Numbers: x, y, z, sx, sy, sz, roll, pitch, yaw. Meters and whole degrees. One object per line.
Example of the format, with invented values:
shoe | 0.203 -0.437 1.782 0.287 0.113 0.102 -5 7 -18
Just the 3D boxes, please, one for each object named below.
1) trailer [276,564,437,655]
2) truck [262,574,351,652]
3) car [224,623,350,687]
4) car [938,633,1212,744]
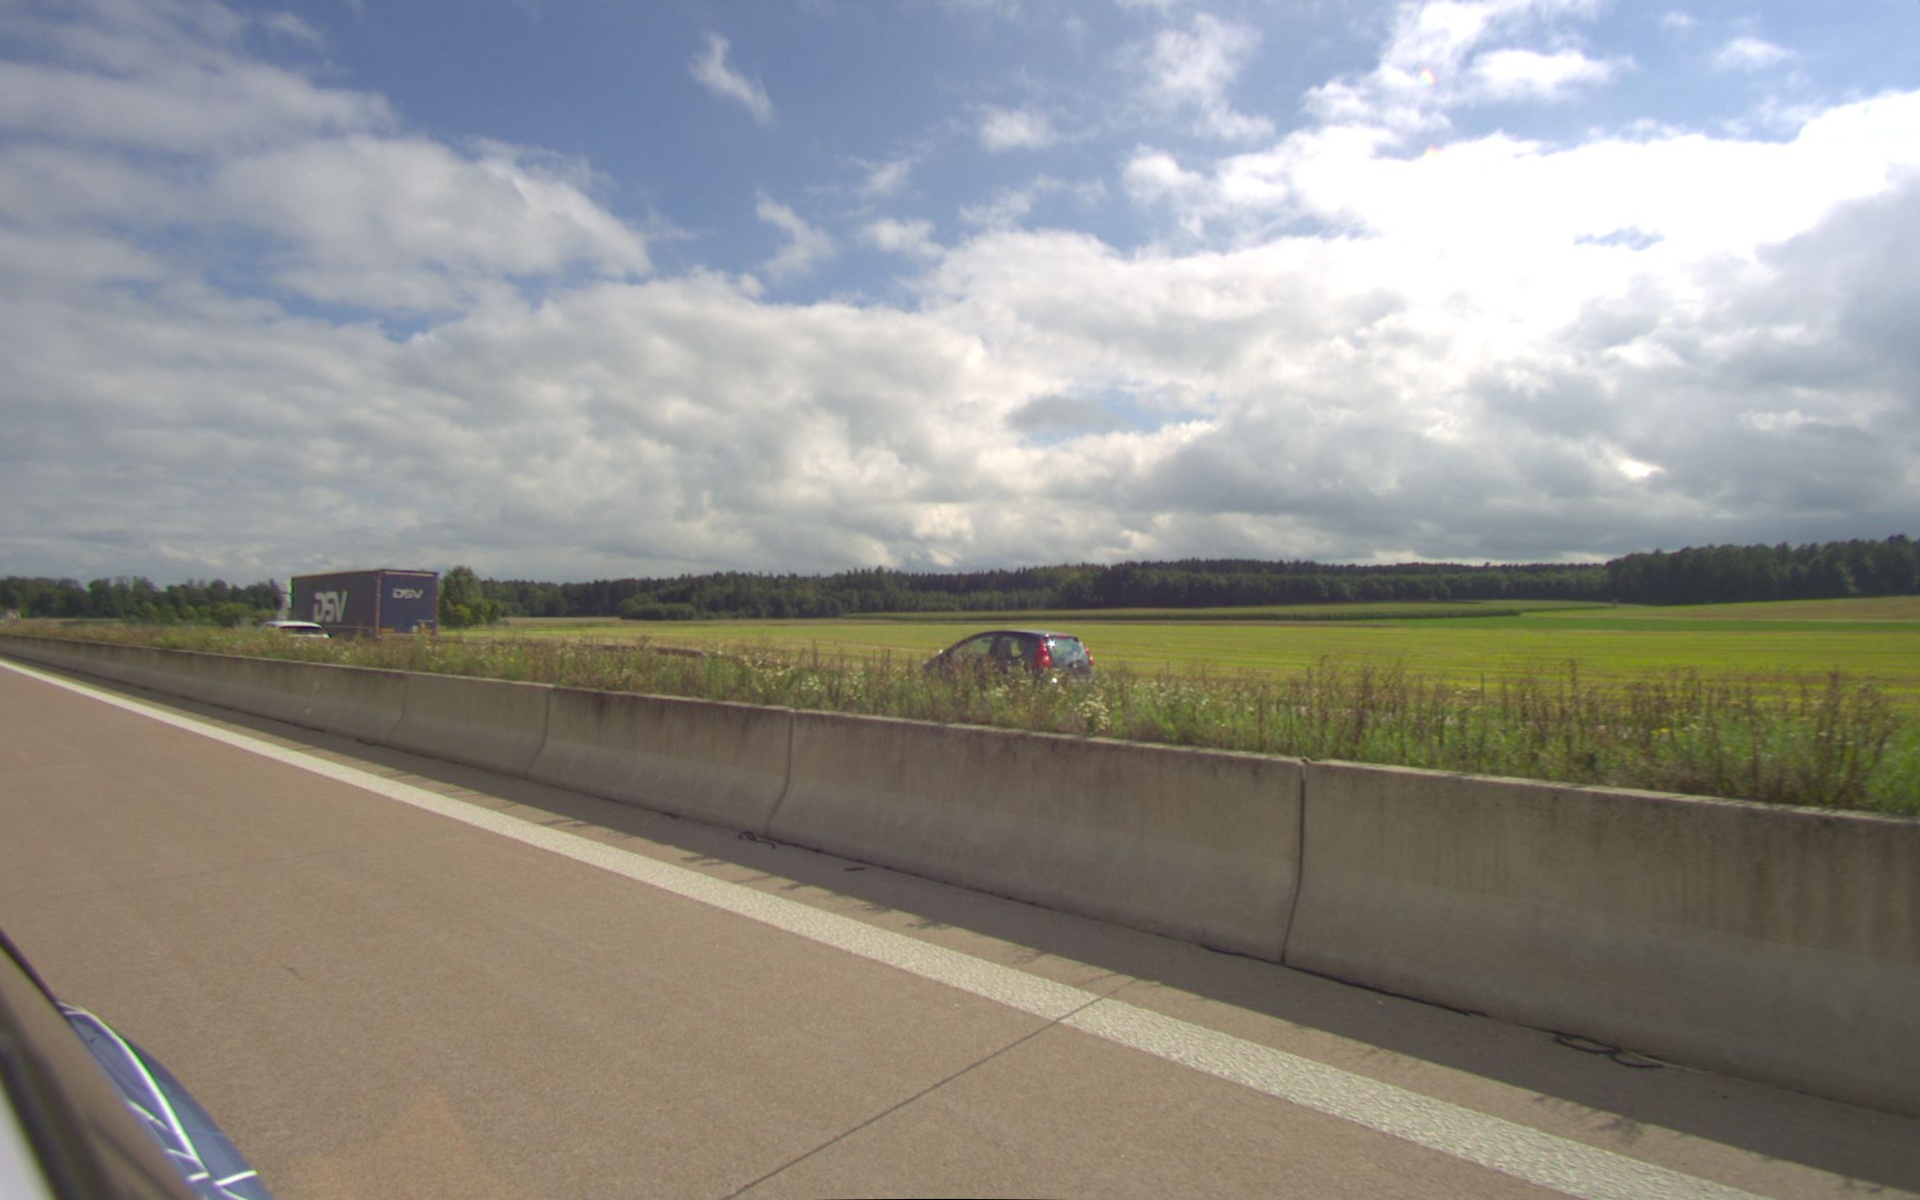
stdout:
trailer | -30.284 0.569 50.297 14.326 3.989 2.740 -1 -2 42
truck | -35.600 0.735 55.062 5.288 3.989 2.741 -1 -2 42
car | -22.269 1.739 33.377 5.883 1.923 1.972 -1 -3 42
car | 1.717 1.288 15.867 3.999 1.475 1.763 -1 -3 42
